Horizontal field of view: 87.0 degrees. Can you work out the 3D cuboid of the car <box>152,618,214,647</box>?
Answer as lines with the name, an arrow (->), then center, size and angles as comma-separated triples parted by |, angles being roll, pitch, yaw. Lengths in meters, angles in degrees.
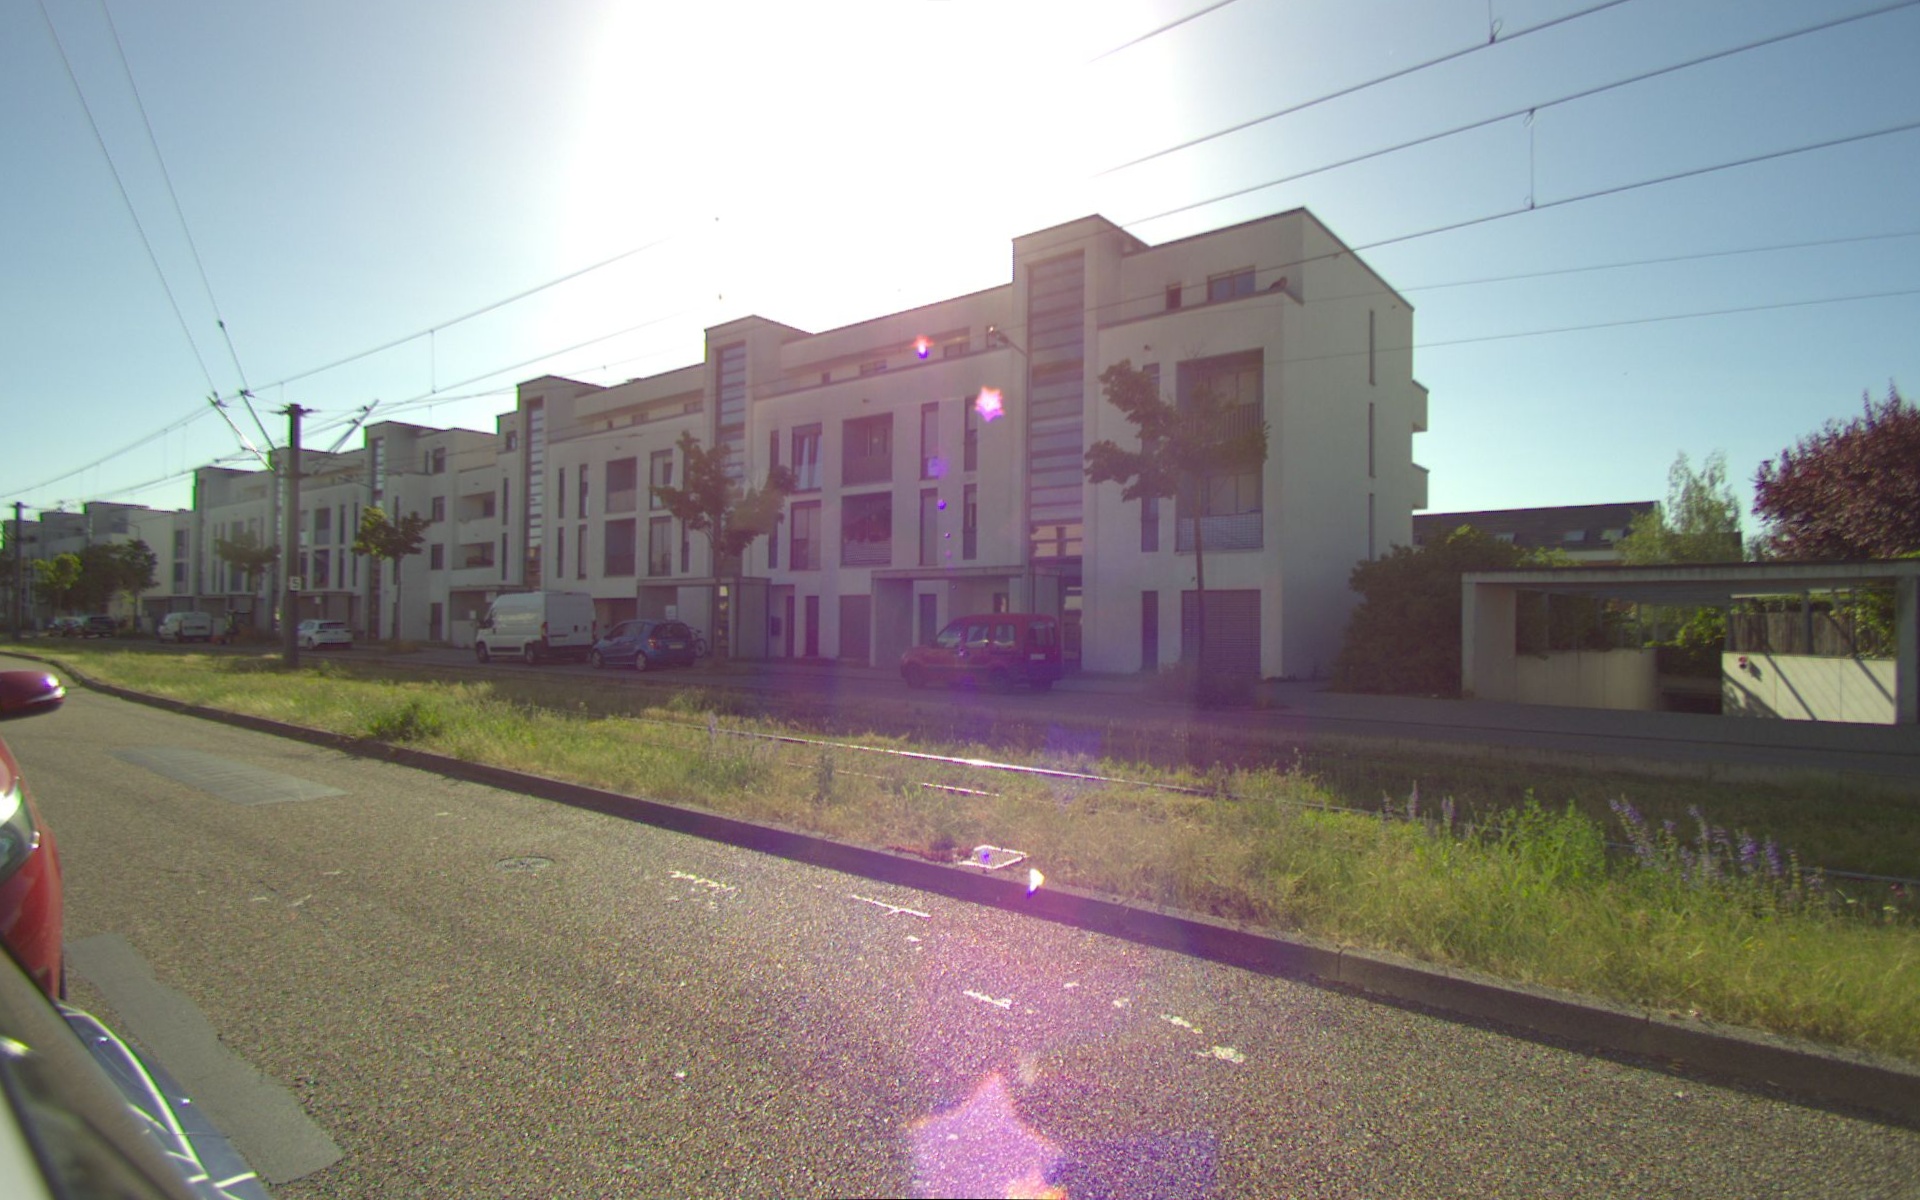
car -> -47.368, 1.951, 61.644 | 4.277, 1.693, 1.900 | -1, 0, 37

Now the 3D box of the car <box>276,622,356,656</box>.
car -> -31.148, 1.829, 48.918 | 4.277, 1.517, 1.900 | -1, 0, 37

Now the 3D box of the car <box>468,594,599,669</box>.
car -> -15.208, 1.066, 35.963 | 5.193, 2.491, 2.197 | -1, 0, 40

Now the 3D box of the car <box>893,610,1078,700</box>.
car -> 0.524, 1.160, 23.037 | 3.895, 1.842, 1.972 | -1, 0, 43

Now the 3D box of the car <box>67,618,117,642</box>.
car -> -62.989, 2.154, 73.426 | 4.277, 1.693, 1.900 | -1, 0, 37

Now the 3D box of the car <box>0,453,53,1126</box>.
car -> -4.889, 0.553, 3.674 | 4.505, 1.868, 1.850 | -1, 0, 41

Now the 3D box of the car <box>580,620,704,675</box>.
car -> -10.013, 1.439, 31.758 | 3.833, 1.556, 1.973 | -1, 0, 40

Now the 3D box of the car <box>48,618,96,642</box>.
car -> -67.534, 2.244, 76.950 | 4.277, 1.693, 1.900 | -1, 0, 37
